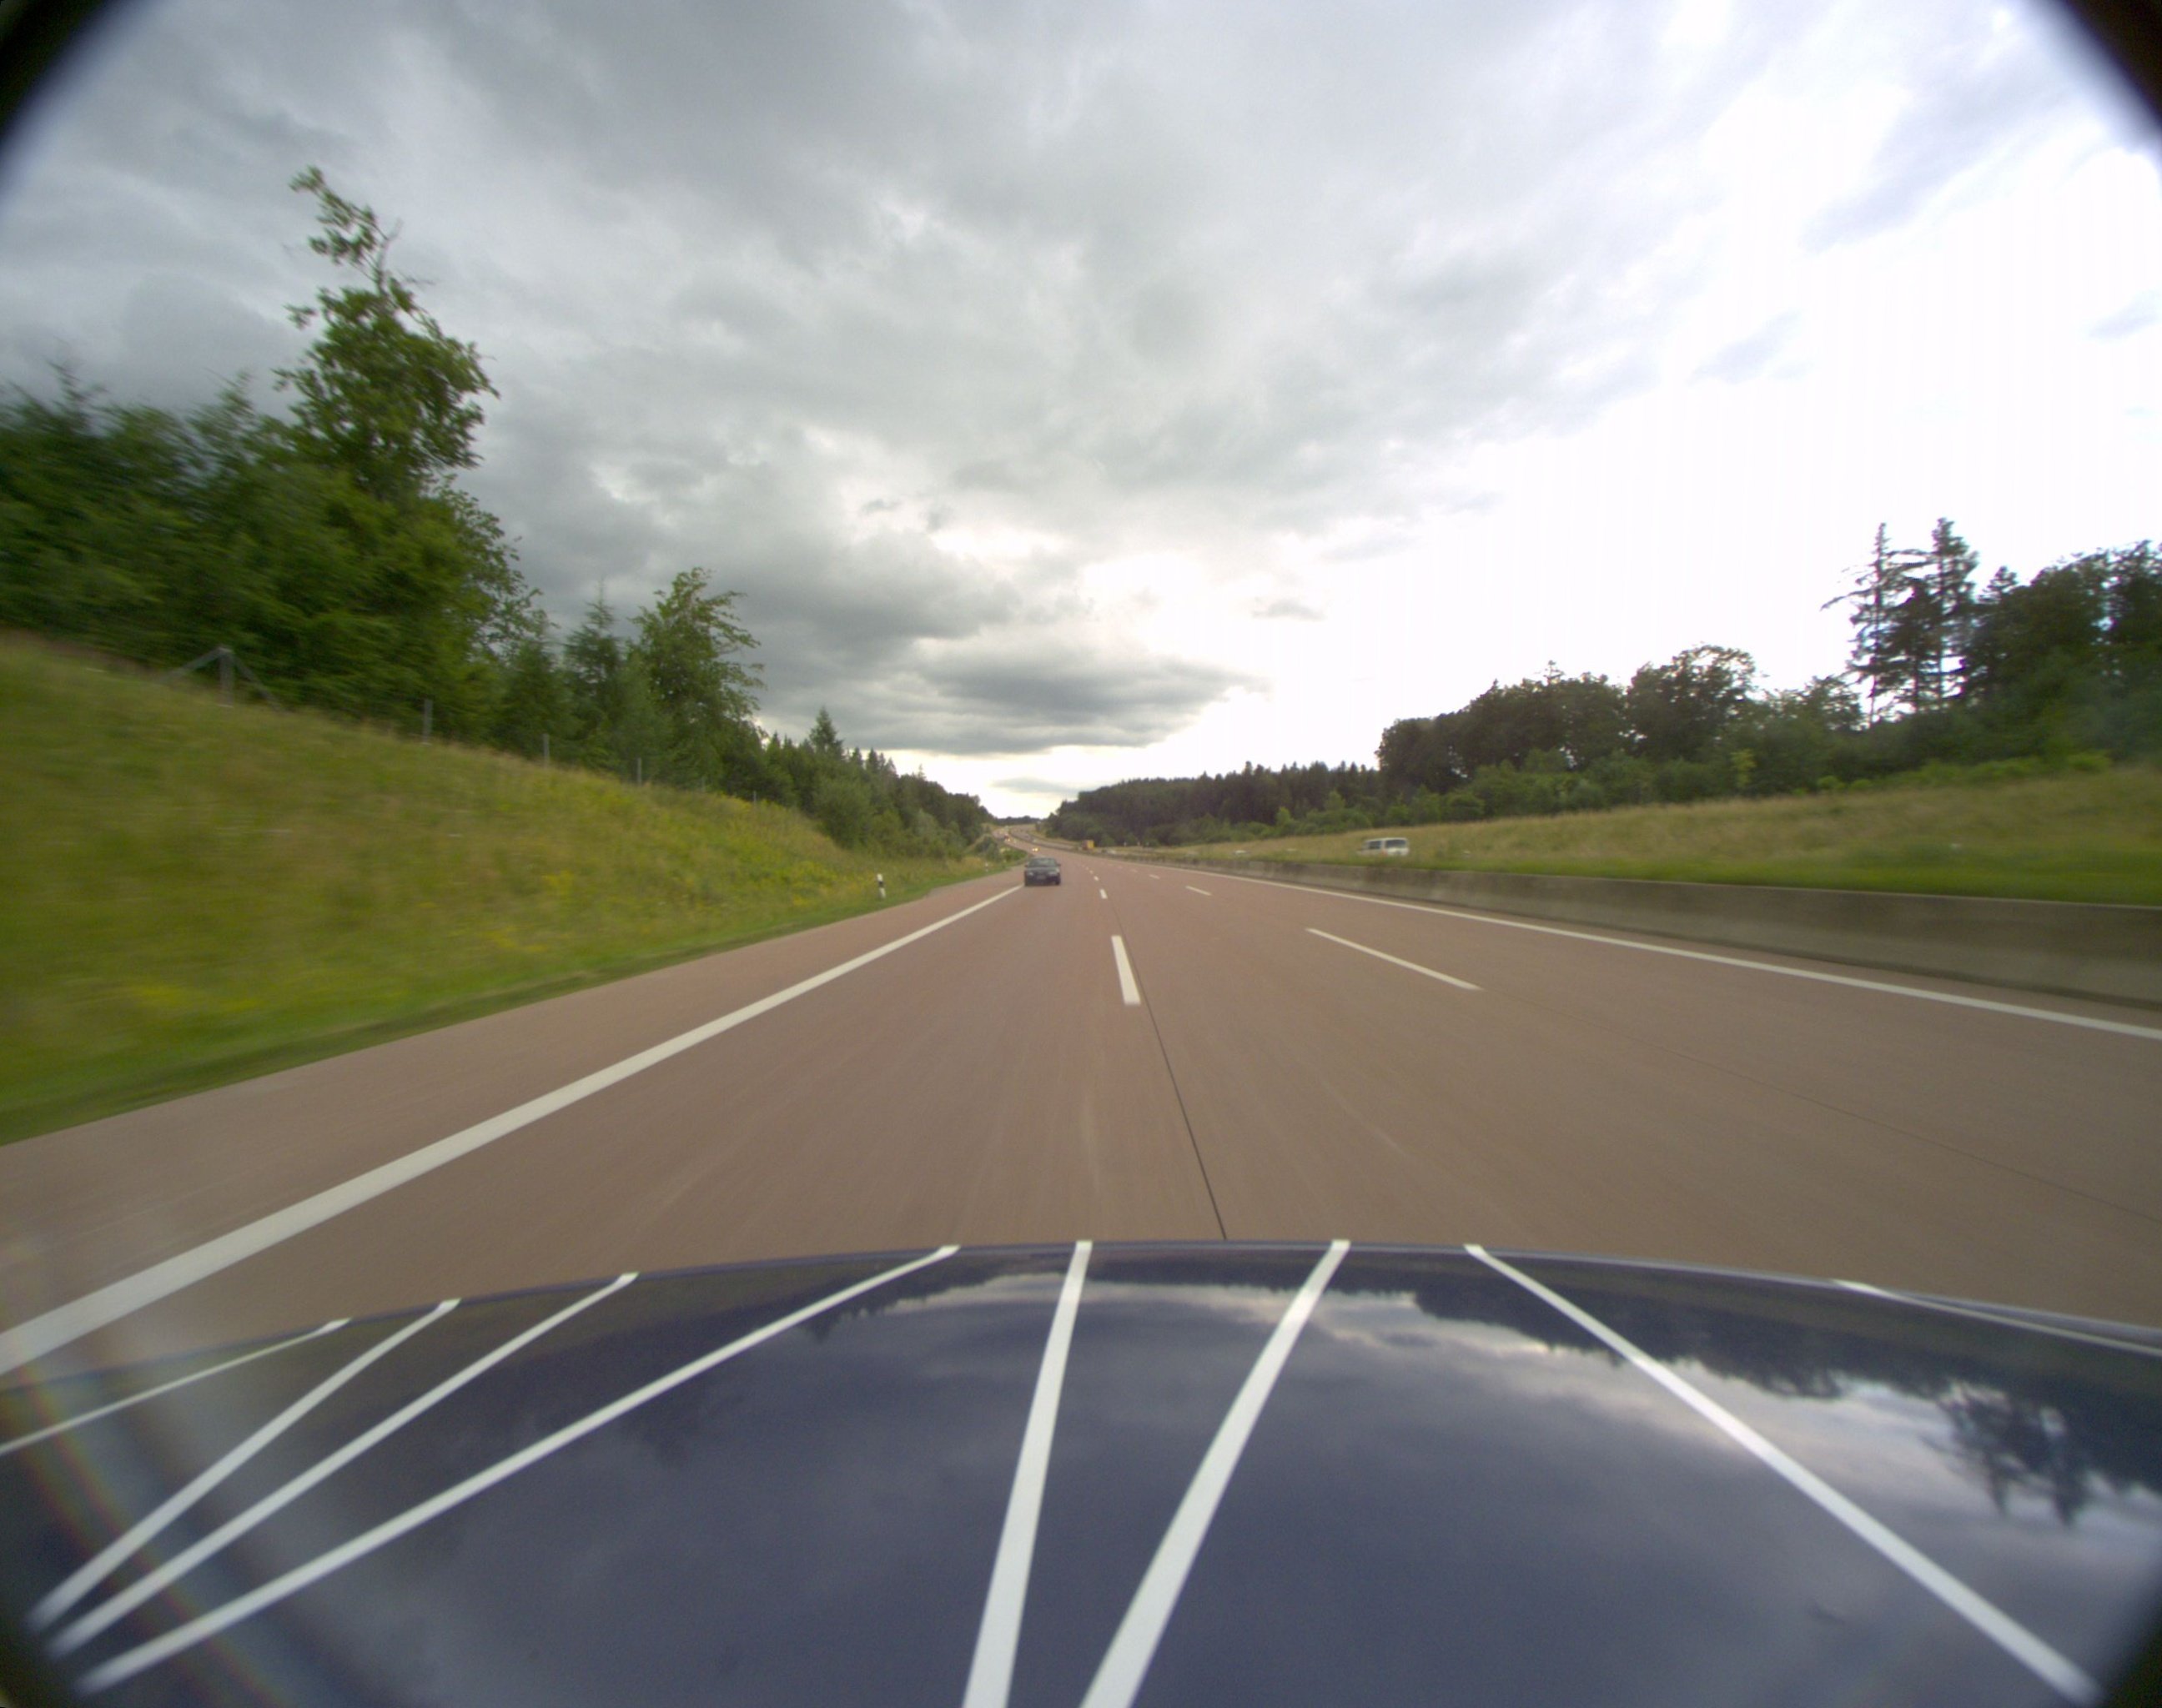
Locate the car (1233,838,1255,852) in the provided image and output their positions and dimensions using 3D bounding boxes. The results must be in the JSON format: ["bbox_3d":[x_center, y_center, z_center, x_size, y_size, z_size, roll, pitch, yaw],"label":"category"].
[{"bbox_3d":[18.626,-1.078,86.774,1.600,1.409,3.803,-2,2,-1],"label":"car"}]

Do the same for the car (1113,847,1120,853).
[{"bbox_3d":[10.919,-1.304,234.784,1.674,1.517,4.823,-2,2,-4],"label":"car"}]

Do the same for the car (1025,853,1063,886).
[{"bbox_3d":[-1.827,0.734,38.533,1.676,1.395,4.231,-1,2,0],"label":"car"}]

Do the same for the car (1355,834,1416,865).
[{"bbox_3d":[19.868,-0.311,49.850,1.923,1.864,5.151,-2,0,0],"label":"car"}]
